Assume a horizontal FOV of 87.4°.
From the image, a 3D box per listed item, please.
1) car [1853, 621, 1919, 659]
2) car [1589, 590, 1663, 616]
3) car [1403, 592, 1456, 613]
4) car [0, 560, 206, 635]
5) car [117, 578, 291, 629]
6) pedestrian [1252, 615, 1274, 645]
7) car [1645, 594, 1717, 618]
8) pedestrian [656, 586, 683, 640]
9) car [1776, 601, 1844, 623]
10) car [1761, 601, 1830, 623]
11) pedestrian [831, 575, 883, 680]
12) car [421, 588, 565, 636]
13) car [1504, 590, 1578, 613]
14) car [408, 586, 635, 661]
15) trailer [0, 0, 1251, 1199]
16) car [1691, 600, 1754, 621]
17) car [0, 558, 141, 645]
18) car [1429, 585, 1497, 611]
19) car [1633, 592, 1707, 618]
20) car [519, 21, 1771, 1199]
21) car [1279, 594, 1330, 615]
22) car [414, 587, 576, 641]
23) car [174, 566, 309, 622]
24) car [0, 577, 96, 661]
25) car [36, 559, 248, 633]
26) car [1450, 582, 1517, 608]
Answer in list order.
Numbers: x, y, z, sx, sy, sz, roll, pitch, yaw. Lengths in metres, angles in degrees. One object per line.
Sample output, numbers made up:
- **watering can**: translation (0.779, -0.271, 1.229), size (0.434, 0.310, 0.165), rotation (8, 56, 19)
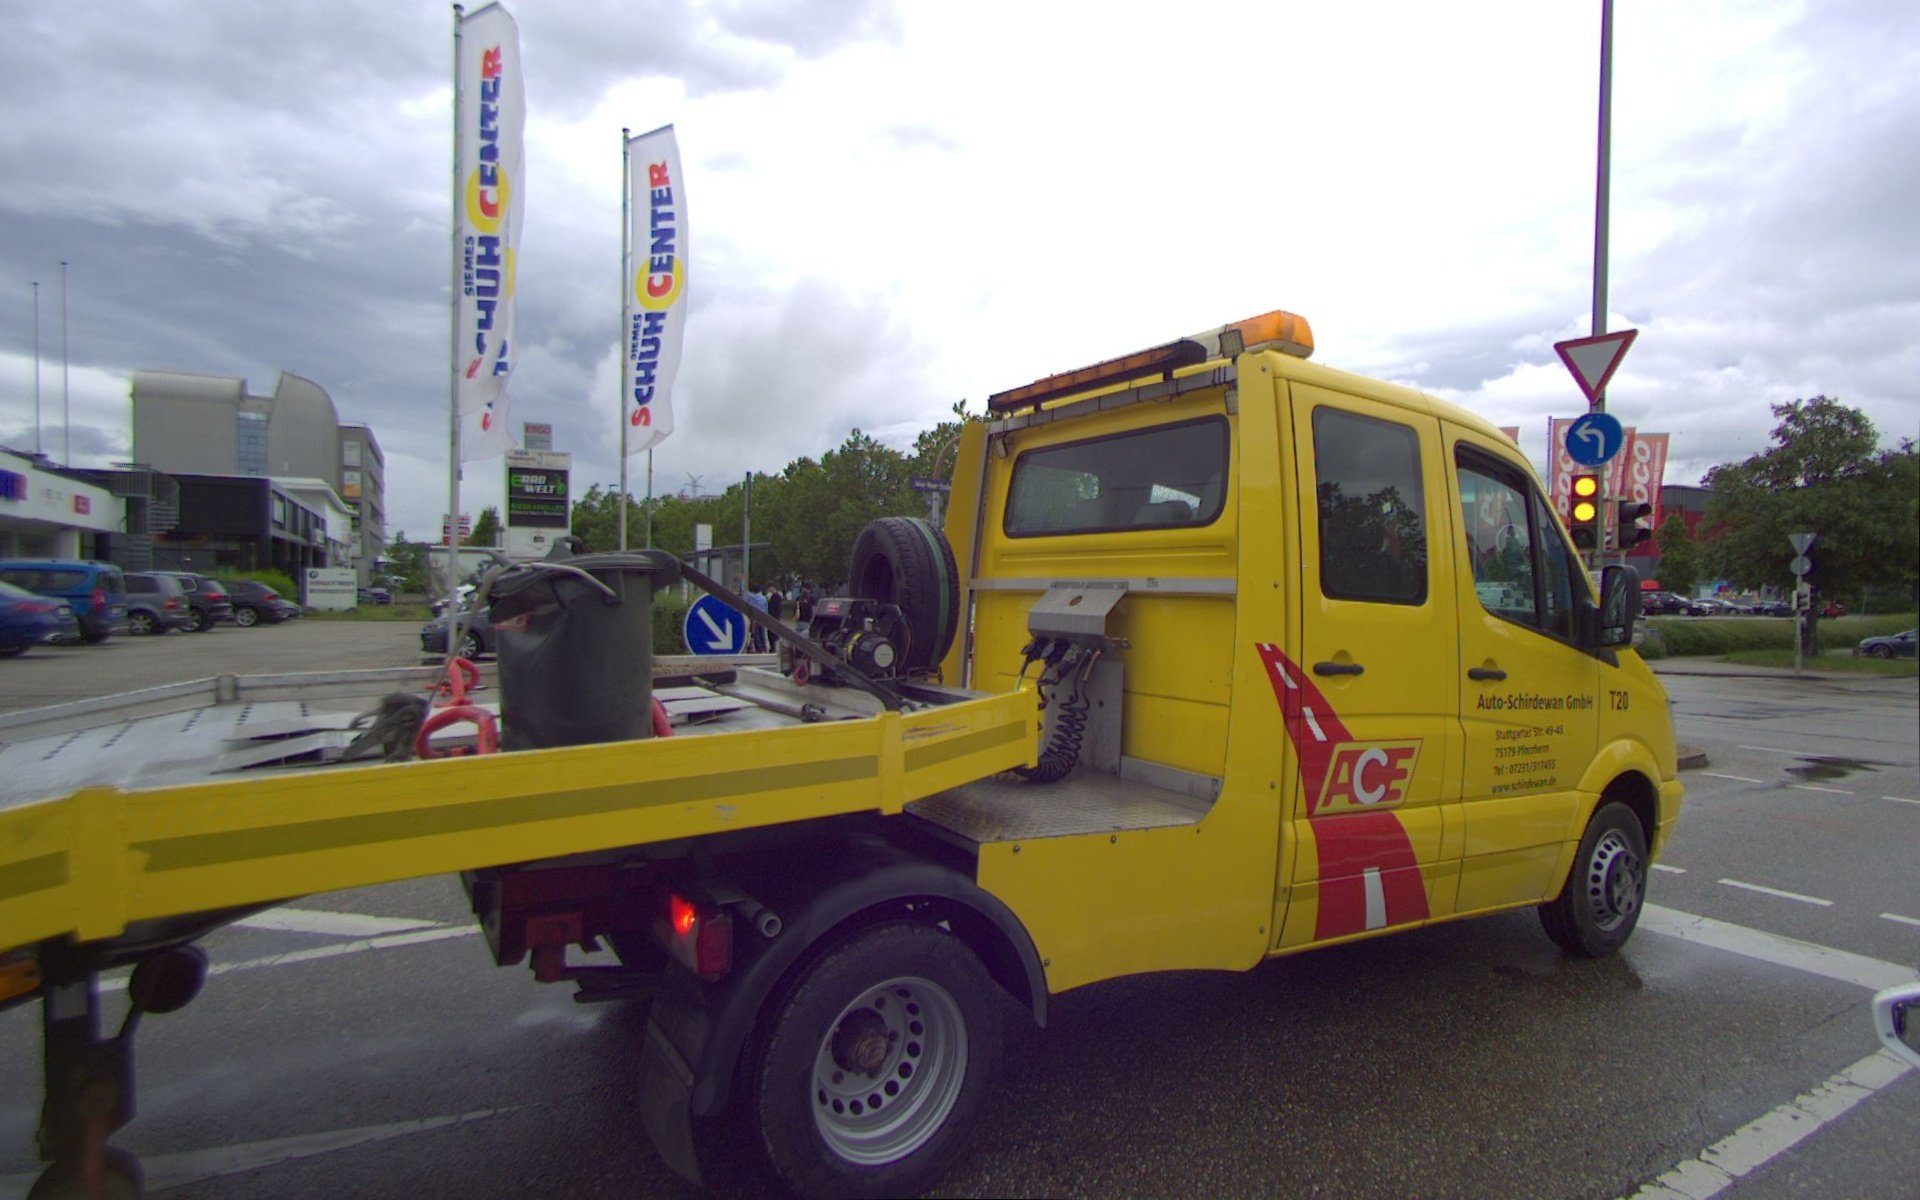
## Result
- **car**: translation (41.179, 1.749, 43.413), size (1.669, 1.573, 3.624), rotation (2, -1, -36)
- **car**: translation (44.487, 0.204, 67.138), size (1.652, 1.667, 3.799), rotation (2, -1, -28)
- **car**: translation (40.214, 0.229, 86.070), size (1.652, 1.667, 3.934), rotation (2, -1, -28)
- **car**: translation (-22.515, -0.032, 26.105), size (4.319, 1.787, 1.884), rotation (2, -1, -27)
- **car**: translation (-24.993, 0.136, 33.415), size (4.319, 1.518, 1.884), rotation (2, -1, -27)
- **pedestrian**: translation (14.910, 1.465, 49.420), size (0.773, 1.450, 0.635), rotation (3, -1, -33)
- **car**: translation (51.002, 0.421, 71.100), size (1.652, 1.667, 3.799), rotation (2, -1, -28)
- **pedestrian**: translation (-9.539, 0.434, 32.982), size (0.692, 1.733, 0.693), rotation (2, -1, -26)
- **car**: translation (67.816, 0.975, 80.187), size (1.652, 1.667, 3.799), rotation (2, -1, -28)
- **car**: translation (65.473, 0.897, 78.739), size (1.652, 1.667, 3.799), rotation (2, -1, -28)
- **pedestrian**: translation (-2.078, 0.552, 20.240), size (0.683, 2.040, 0.816), rotation (2, -1, 20)
- **car**: translation (-15.031, 0.392, 32.409), size (4.074, 1.412, 1.811), rotation (2, -1, -27)
- **car**: translation (37.556, 0.078, 65.054), size (1.652, 1.399, 3.881), rotation (2, -1, -28)
- **car**: translation (-8.906, 0.493, 20.654), size (4.069, 1.412, 1.813), rotation (2, -1, -24)
- **trailer**: translation (-3.165, 0.103, 1.560), size (7.884, 2.506, 2.291), rotation (3, -1, -32)
- **car**: translation (63.228, 0.849, 83.346), size (1.652, 1.667, 3.799), rotation (2, -1, -28)
- **car**: translation (-20.526, 0.013, 21.478), size (4.319, 1.787, 1.884), rotation (2, -1, -27)
- **car**: translation (33.331, -0.137, 66.664), size (1.652, 1.667, 3.799), rotation (2, -1, -28)
- **car**: translation (48.933, 0.349, 69.295), size (1.652, 1.667, 3.799), rotation (2, -1, -28)
- **car**: translation (1.026, 0.223, 4.220), size (4.960, 2.506, 2.227), rotation (3, -1, -32)
- **car**: translation (28.304, 0.387, 82.572), size (1.652, 1.667, 3.934), rotation (2, -1, -28)
- **car**: translation (-13.324, 0.418, 28.894), size (4.074, 1.412, 1.886), rotation (2, -1, -27)
- **car**: translation (-28.209, -0.208, 39.600), size (3.944, 2.040, 1.900), rotation (2, -1, -24)
- **car**: translation (-17.688, 0.277, 16.974), size (4.319, 1.412, 1.811), rotation (2, -1, -27)
- **car**: translation (-23.184, -0.078, 28.697), size (4.319, 1.931, 1.884), rotation (2, -1, -27)
- **car**: translation (35.675, -0.301, 68.480), size (1.612, 1.667, 3.799), rotation (2, -1, -28)
